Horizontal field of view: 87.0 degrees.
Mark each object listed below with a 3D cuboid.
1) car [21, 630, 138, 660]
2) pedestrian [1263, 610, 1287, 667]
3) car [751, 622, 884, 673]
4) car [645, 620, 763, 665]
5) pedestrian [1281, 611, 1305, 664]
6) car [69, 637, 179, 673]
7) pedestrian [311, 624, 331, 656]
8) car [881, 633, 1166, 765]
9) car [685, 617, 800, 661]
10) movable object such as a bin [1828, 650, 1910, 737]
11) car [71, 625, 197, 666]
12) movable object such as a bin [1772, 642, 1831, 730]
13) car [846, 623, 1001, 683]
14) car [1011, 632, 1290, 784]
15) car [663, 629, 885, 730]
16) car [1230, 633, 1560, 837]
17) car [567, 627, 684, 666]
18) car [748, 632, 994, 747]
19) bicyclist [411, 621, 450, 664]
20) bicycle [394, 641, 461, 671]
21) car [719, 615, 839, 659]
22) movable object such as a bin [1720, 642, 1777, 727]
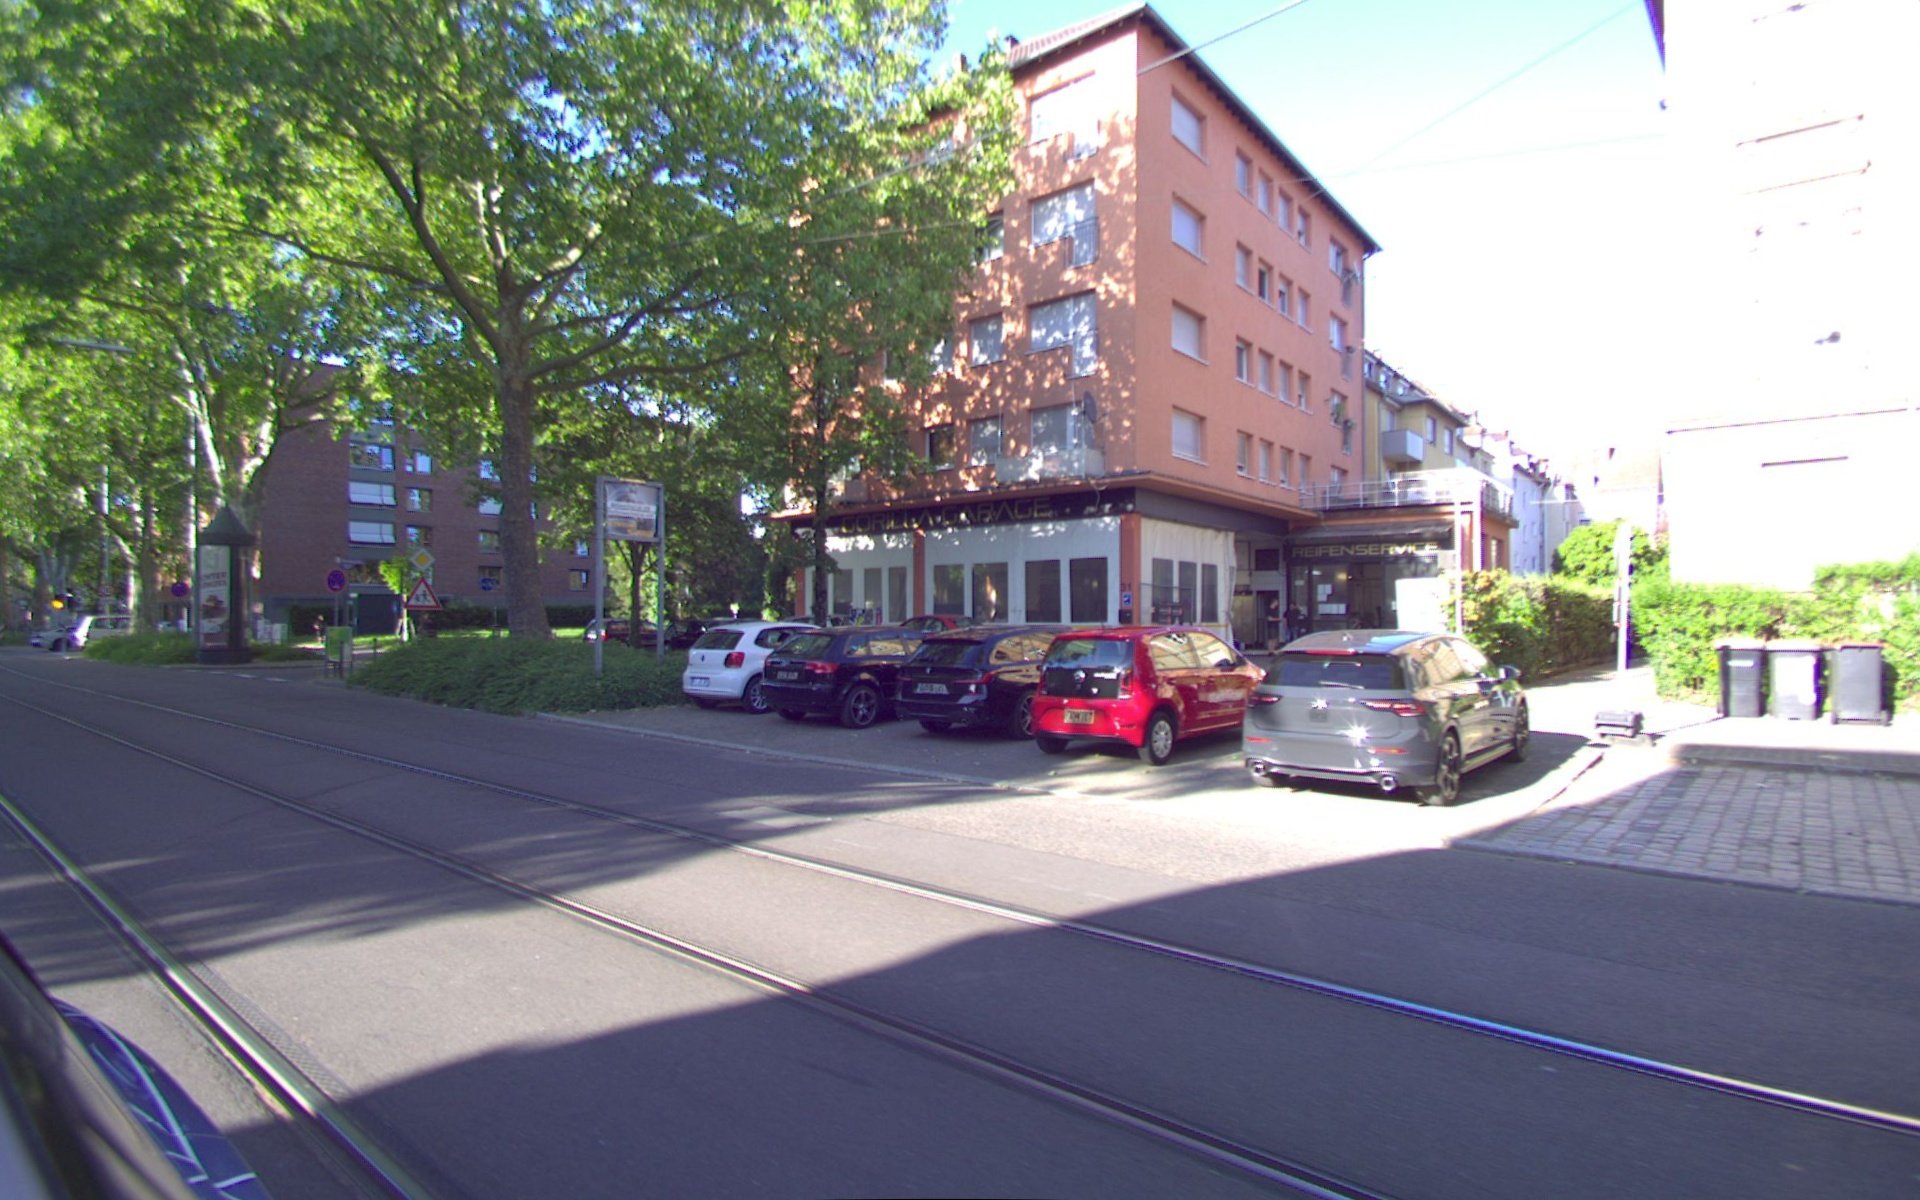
[{"bbox_3d":[-49.108,2.474,56.536,1.953,1.471,4.716,-2,-1,39],"label":"car"},{"bbox_3d":[9.890,1.201,31.752,0.520,1.791,0.534,-2,-1,41],"label":"pedestrian"},{"bbox_3d":[-4.358,1.396,30.602,3.891,1.418,1.927,-2,-1,42],"label":"car"},{"bbox_3d":[-9.126,1.508,36.028,3.986,1.504,1.799,-1,-1,31],"label":"car"},{"bbox_3d":[10.565,1.182,32.077,0.549,1.673,0.498,-2,-1,41],"label":"pedestrian"},{"bbox_3d":[-42.778,2.781,51.860,1.901,1.659,4.098,-2,-1,40],"label":"car"},{"bbox_3d":[-33.282,2.079,52.692,0.779,1.686,0.702,-2,-1,41],"label":"pedestrian"},{"bbox_3d":[1.007,1.239,14.128,1.821,1.476,4.038,-2,-1,43],"label":"car"},{"bbox_3d":[-8.148,1.455,37.922,3.987,1.537,1.978,-1,-1,32],"label":"car"},{"bbox_3d":[11.593,1.168,12.917,0.736,1.030,0.714,-2,-1,43],"label":"movable object such as a bin"},{"bbox_3d":[-40.488,2.181,49.689,1.937,1.848,4.525,-2,-1,39],"label":"car"},{"bbox_3d":[11.341,1.141,13.641,0.560,1.118,0.715,-2,-1,42],"label":"movable object such as a bin"},{"bbox_3d":[-1.045,1.406,27.635,3.999,1.498,1.927,-2,-1,42],"label":"car"},{"bbox_3d":[2.382,1.166,12.209,1.759,1.476,3.382,-2,-1,43],"label":"car"},{"bbox_3d":[-3.109,1.269,17.304,1.697,1.476,3.382,-2,-1,43],"label":"car"},{"bbox_3d":[4.381,1.098,9.868,1.853,1.476,3.946,-2,-1,41],"label":"car"},{"bbox_3d":[-14.036,1.928,42.706,1.856,1.500,4.487,-2,-1,35],"label":"car"},{"bbox_3d":[-1.282,1.268,15.534,1.687,1.476,3.562,-2,-1,43],"label":"car"},{"bbox_3d":[-18.981,1.519,36.260,1.113,1.518,0.794,-1,-1,31],"label":"bicyclist"},{"bbox_3d":[-19.107,1.997,36.321,2.574,1.006,0.961,-1,-1,31],"label":"bicycle"},{"bbox_3d":[-7.172,1.451,39.976,4.544,1.630,1.978,-1,-1,33],"label":"car"},{"bbox_3d":[10.925,1.152,14.023,0.543,1.118,0.716,-2,-1,42],"label":"movable object such as a bin"}]
